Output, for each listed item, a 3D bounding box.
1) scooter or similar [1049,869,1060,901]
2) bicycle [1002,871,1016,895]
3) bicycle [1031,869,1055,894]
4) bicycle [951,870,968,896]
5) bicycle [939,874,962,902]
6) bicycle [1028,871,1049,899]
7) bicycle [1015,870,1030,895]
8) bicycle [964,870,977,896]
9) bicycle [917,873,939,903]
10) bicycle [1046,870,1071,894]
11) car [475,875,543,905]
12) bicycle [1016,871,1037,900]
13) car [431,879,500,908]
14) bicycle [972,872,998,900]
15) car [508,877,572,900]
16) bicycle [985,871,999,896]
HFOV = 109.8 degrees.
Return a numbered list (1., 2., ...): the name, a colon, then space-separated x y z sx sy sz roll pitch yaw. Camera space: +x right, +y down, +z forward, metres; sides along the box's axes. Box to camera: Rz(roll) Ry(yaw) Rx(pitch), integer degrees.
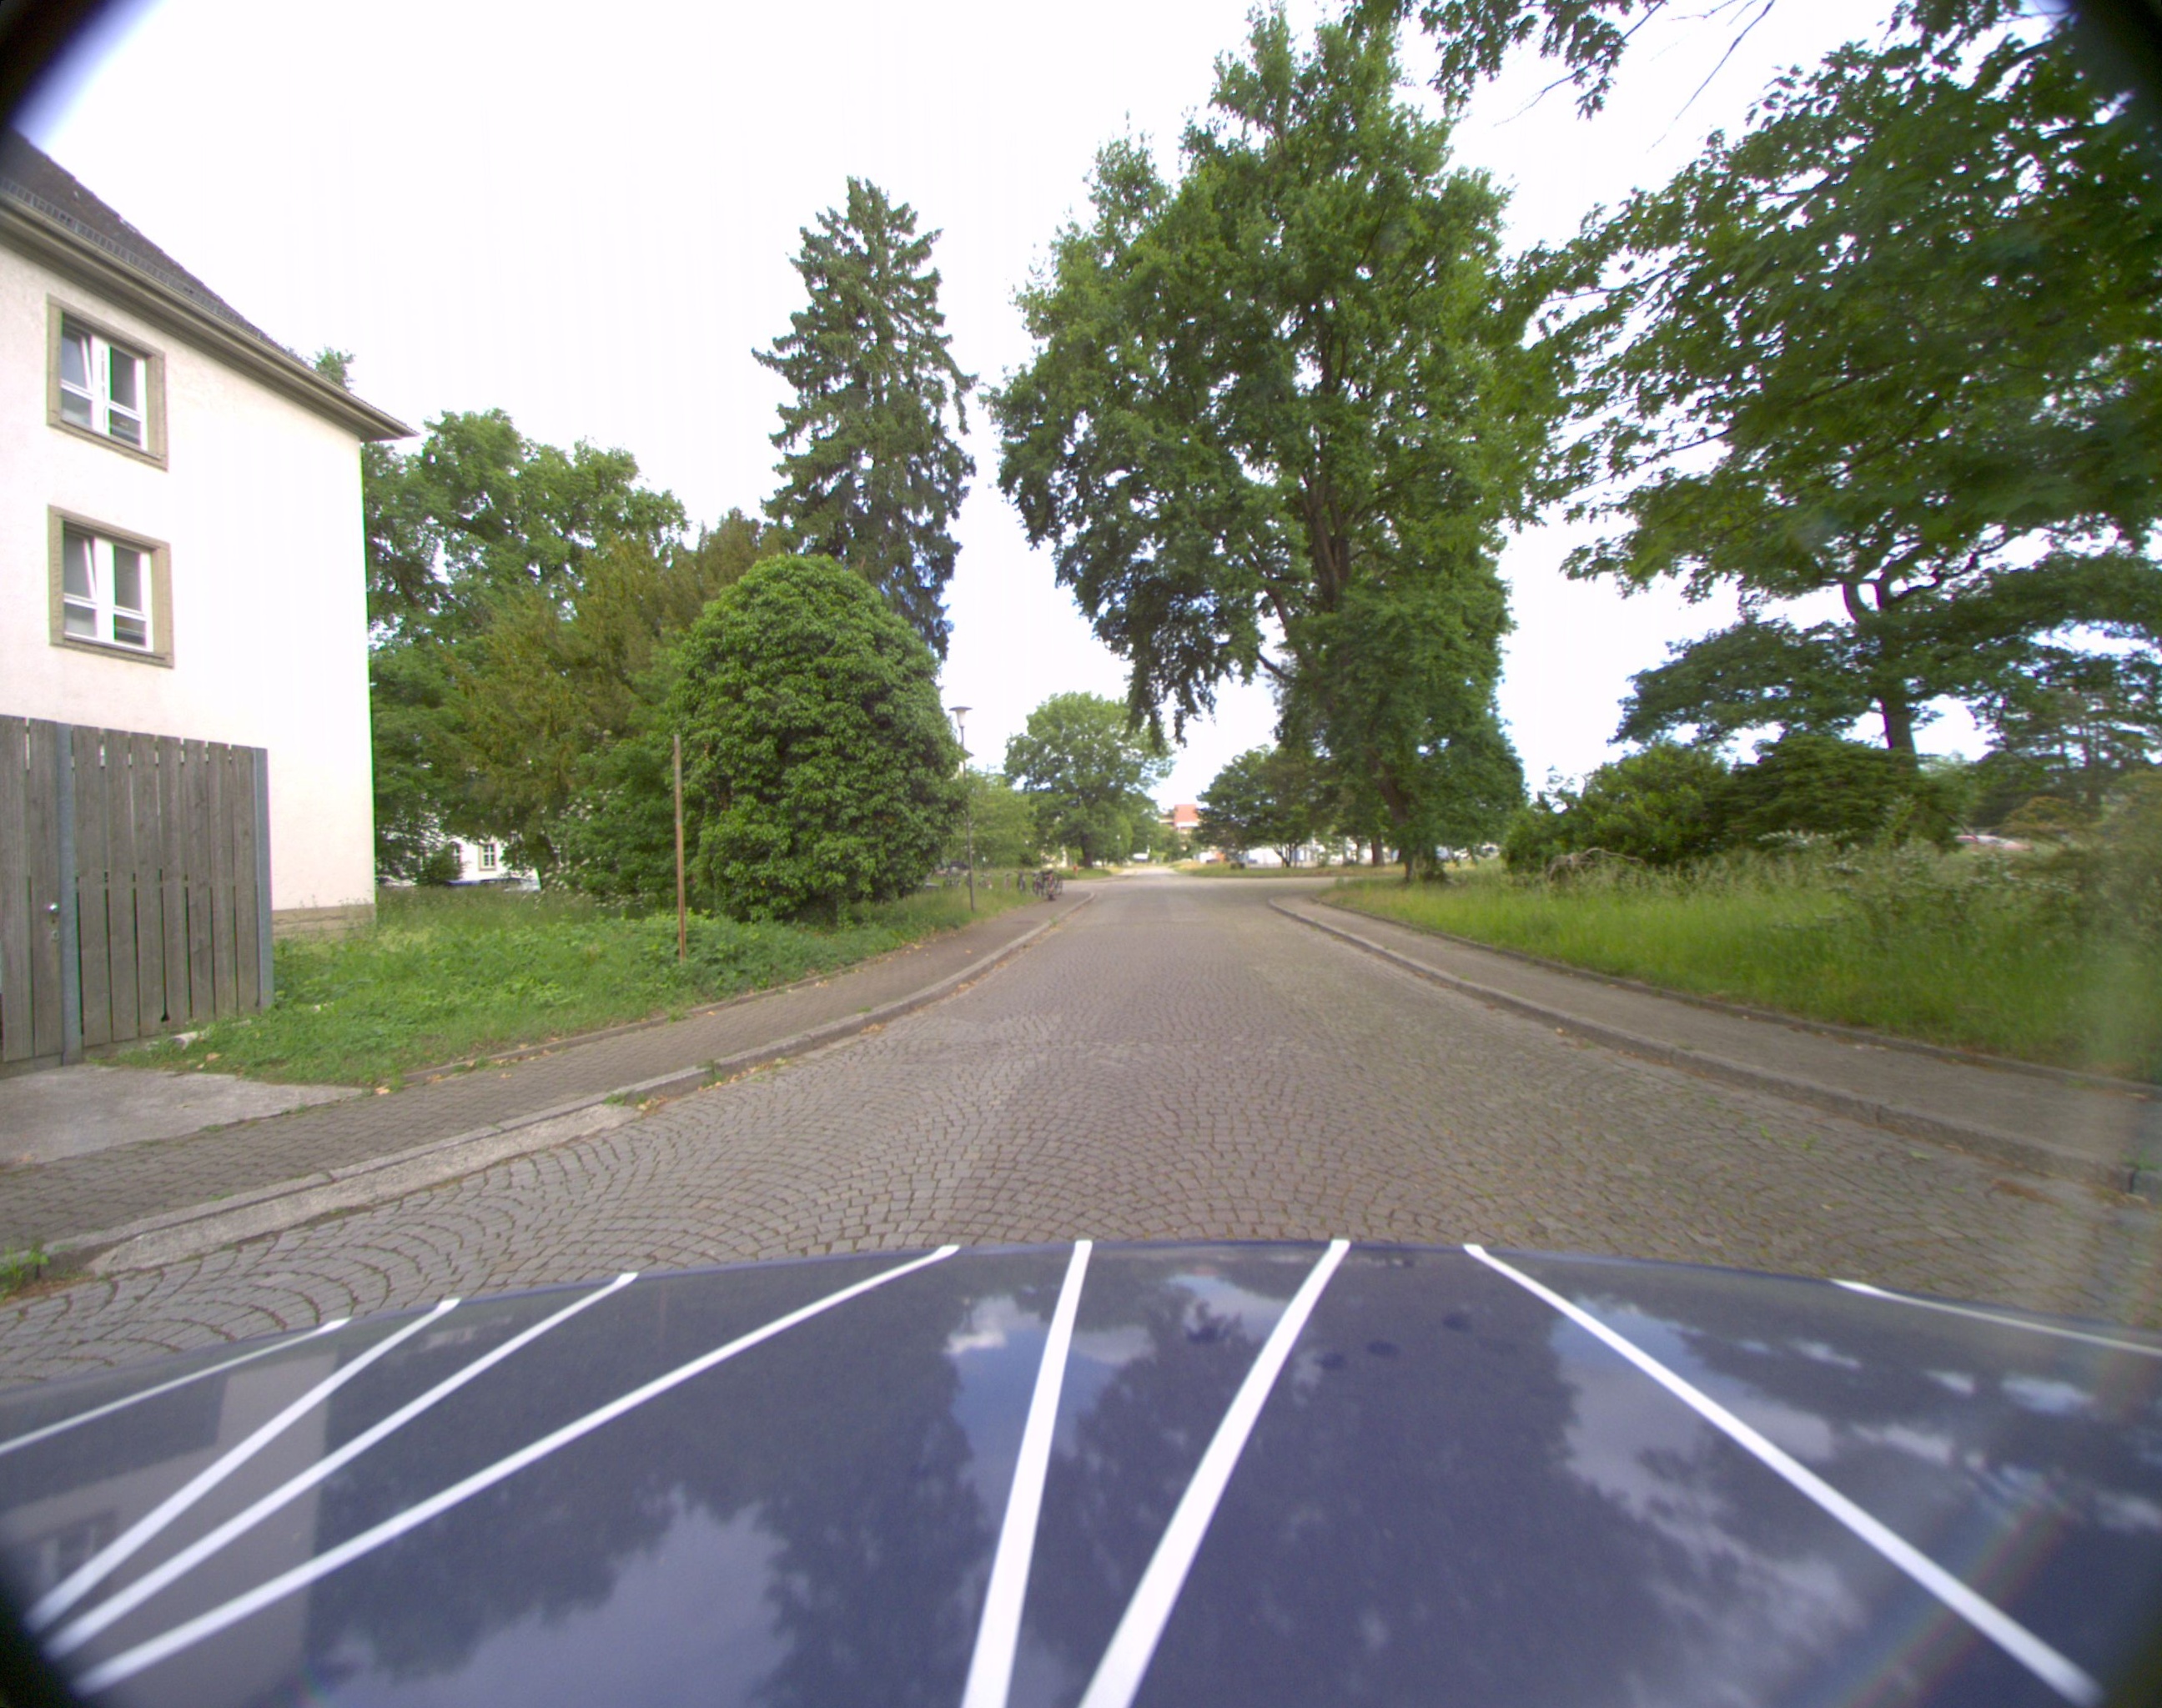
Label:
1. scooter or similar: -1.041 1.223 29.922 0.357 1.202 1.137 -2 0 1
2. bicycle: -3.293 1.307 34.614 0.478 1.002 1.665 -2 1 -11
3. bicycle: -1.756 1.269 35.107 0.478 1.068 1.619 -3 2 -25
4. bicycle: -5.496 1.302 34.298 0.478 1.105 1.763 -2 0 -16
5. bicycle: -5.247 1.333 30.461 0.552 1.059 1.751 -2 0 -20
6. bicycle: -1.760 1.261 31.227 0.551 1.108 1.768 -2 0 -12
7. bicycle: -2.673 1.283 34.667 0.478 1.002 1.665 -2 1 -11
8. bicycle: -4.968 1.280 34.207 0.478 1.105 1.764 -2 0 -11
9. bicycle: -6.267 1.372 31.186 0.551 1.164 1.754 -2 0 -3
10. bicycle: -1.052 1.290 35.017 0.478 1.002 1.619 -3 2 -25
11. car: -34.950 2.197 46.524 1.438 1.651 3.250 -2 0 5
12. bicycle: -2.229 1.276 31.064 0.551 1.108 1.803 -2 0 -12
13. car: -38.143 2.426 47.153 1.383 1.555 3.250 -2 0 5
14. bicycle: -3.913 1.288 30.825 0.619 1.059 1.823 -2 0 -20
15. car: -32.660 2.039 45.972 1.295 1.210 3.250 -2 0 5
16. bicycle: -4.069 1.336 34.600 0.478 1.002 1.665 -2 1 -11
